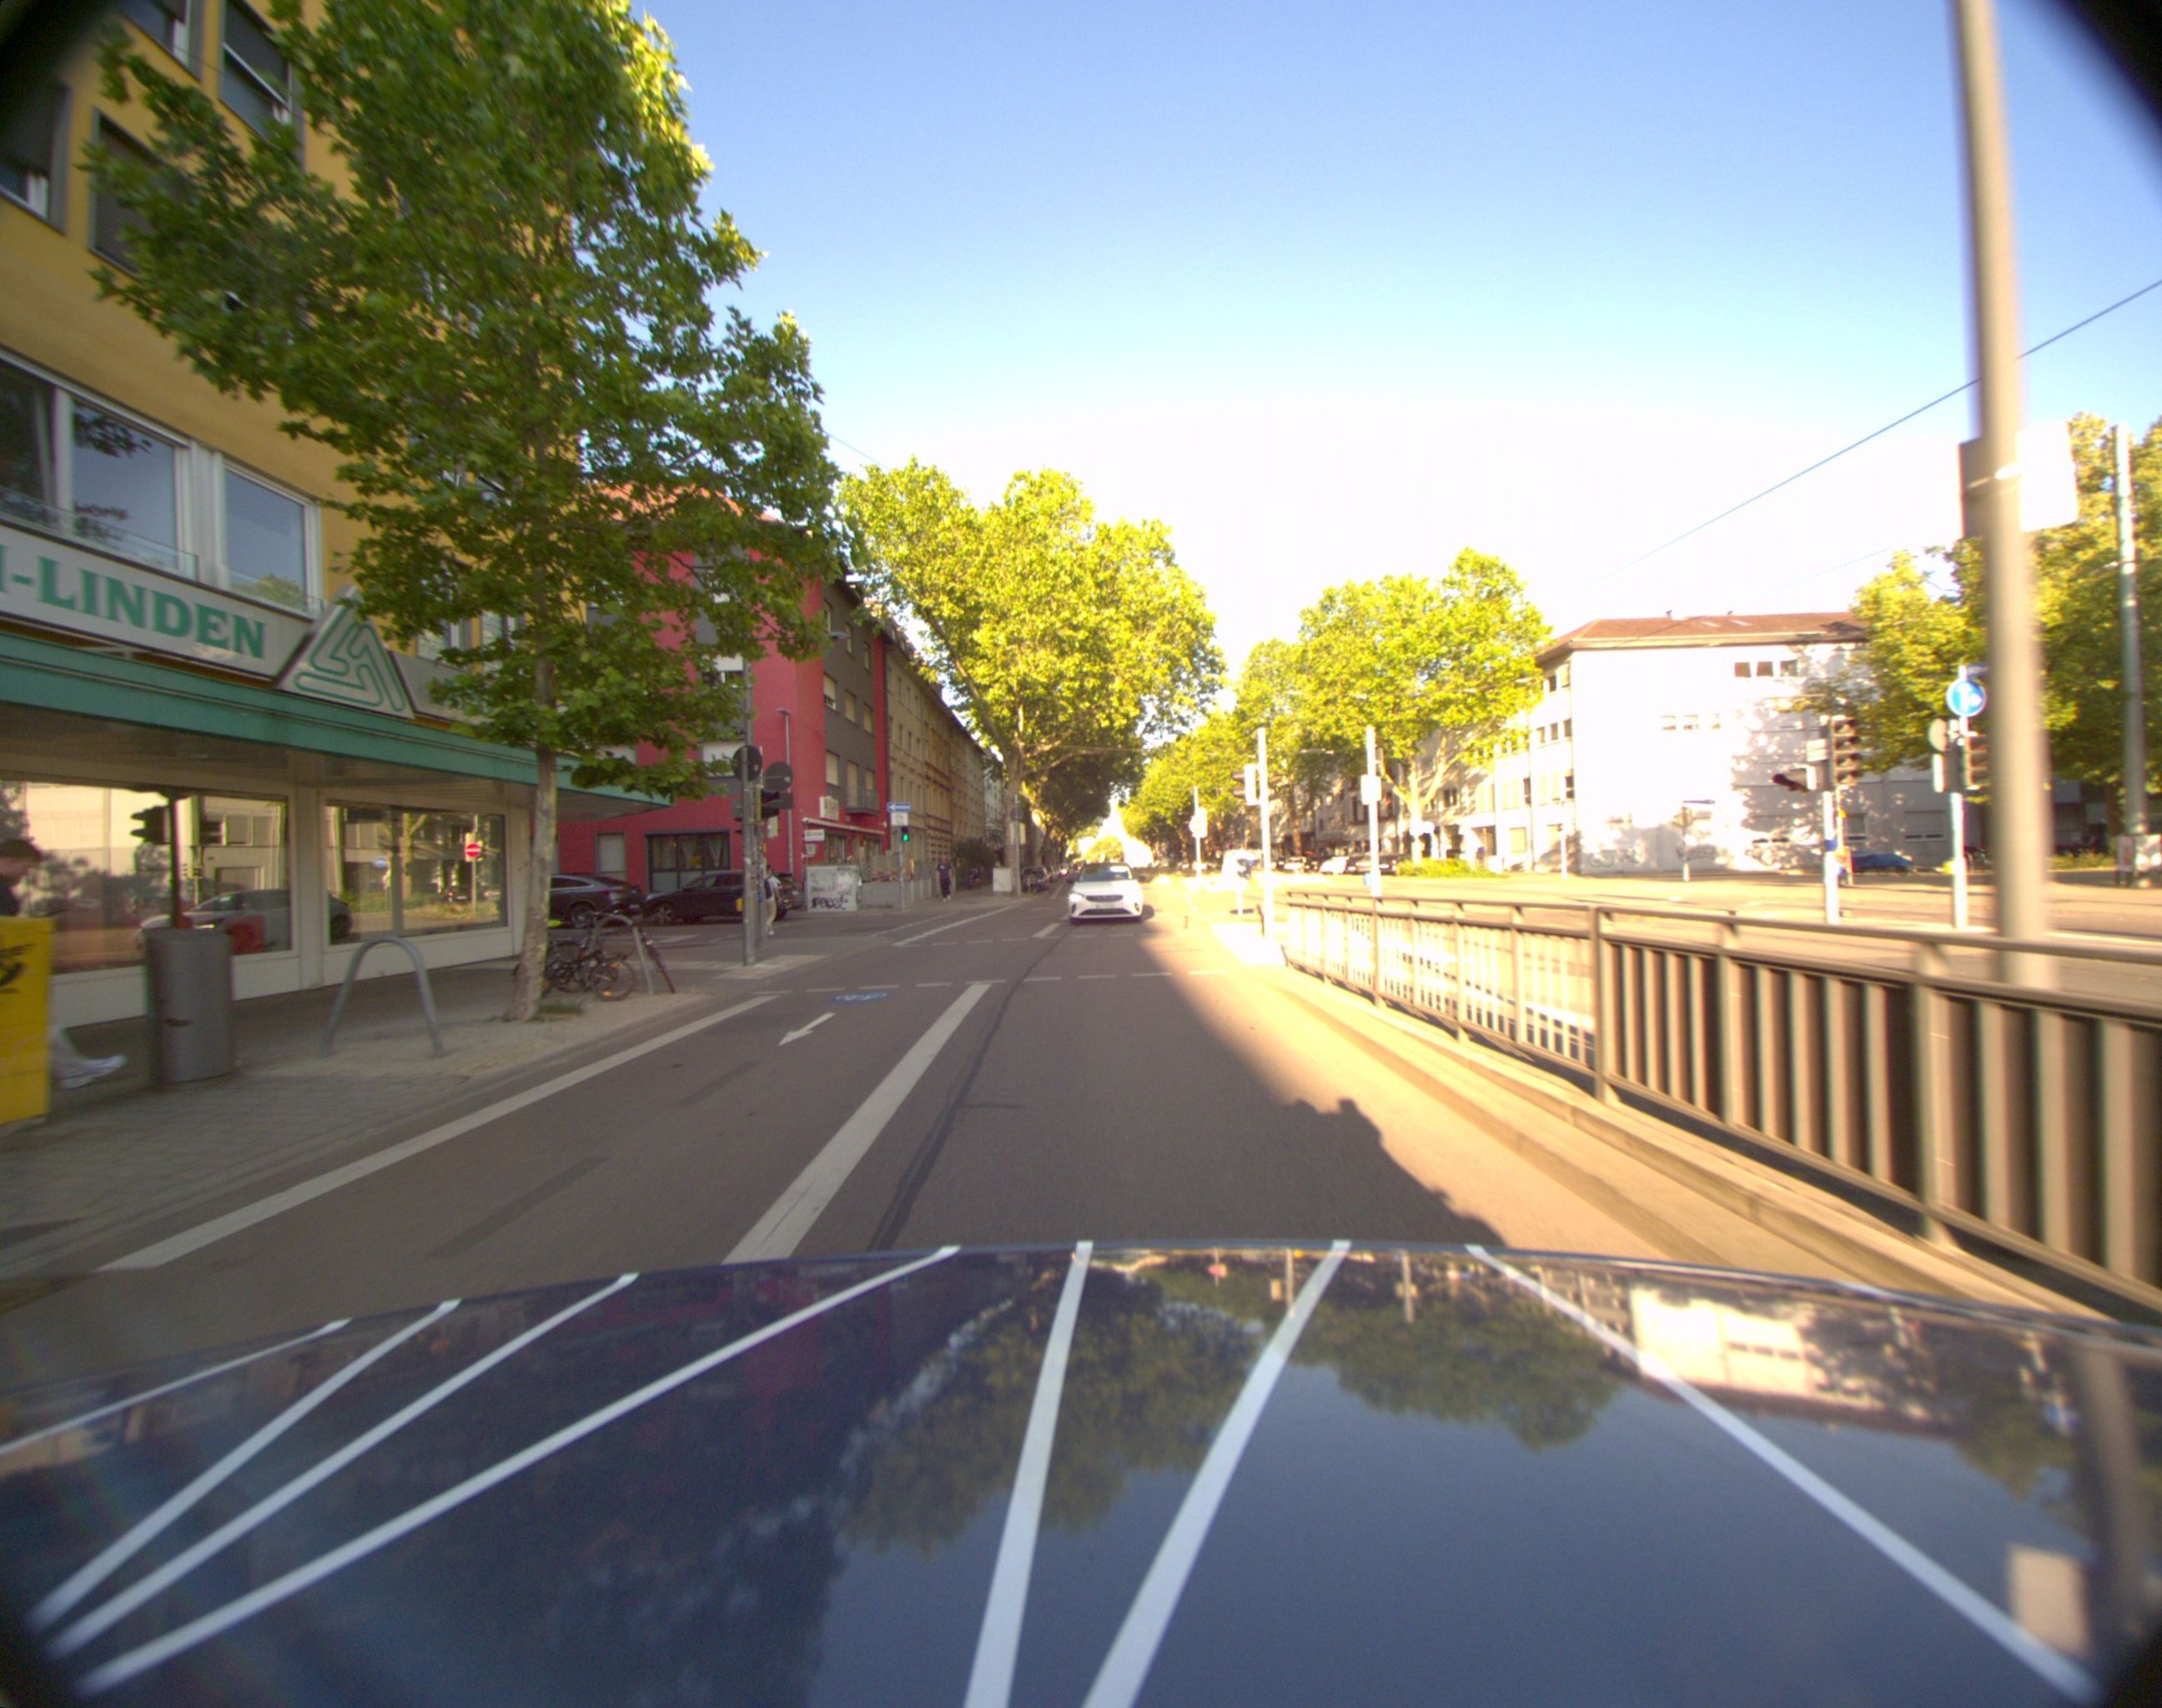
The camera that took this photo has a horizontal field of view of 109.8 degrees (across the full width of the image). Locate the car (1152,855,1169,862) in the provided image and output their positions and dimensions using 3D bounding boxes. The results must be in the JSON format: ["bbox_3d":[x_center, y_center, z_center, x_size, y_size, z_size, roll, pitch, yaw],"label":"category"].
[{"bbox_3d":[20.500,1.124,196.065,3.994,1.802,1.875,-1,0,10],"label":"car"}]

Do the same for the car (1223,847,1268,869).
[{"bbox_3d":[21.615,0.505,99.857,5.619,2.684,2.176,-1,0,-24],"label":"car"}]

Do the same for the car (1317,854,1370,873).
[{"bbox_3d":[20.988,0.735,60.711,4.266,1.369,2.147,-1,0,-40],"label":"car"}]

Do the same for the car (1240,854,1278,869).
[{"bbox_3d":[21.226,0.906,90.578,4.005,1.608,1.996,-1,0,-27],"label":"car"}]

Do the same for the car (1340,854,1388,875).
[{"bbox_3d":[21.682,0.804,58.207,3.979,1.495,1.827,-1,0,-42],"label":"car"}]

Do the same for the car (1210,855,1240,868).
[{"bbox_3d":[21.251,1.155,112.054,4.005,1.805,1.996,-1,0,-27],"label":"car"}]

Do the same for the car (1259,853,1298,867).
[{"bbox_3d":[21.643,0.673,83.253,4.265,1.449,1.903,-1,0,-36],"label":"car"}]

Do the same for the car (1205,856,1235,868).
[{"bbox_3d":[21.072,1.183,115.327,4.005,1.805,1.996,-1,0,-27],"label":"car"}]

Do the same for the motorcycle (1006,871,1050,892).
[{"bbox_3d":[-2.823,1.454,40.596,2.217,1.104,0.663,1,-2,-27],"label":"motorcycle"}]

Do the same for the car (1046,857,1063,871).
[{"bbox_3d":[-3.011,1.149,87.853,1.803,1.493,4.370,1,0,-1],"label":"car"}]

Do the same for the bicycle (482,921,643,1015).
[{"bbox_3d":[-5.898,1.293,8.685,1.487,1.002,0.454,1,0,-3],"label":"bicycle"}]

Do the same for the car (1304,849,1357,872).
[{"bbox_3d":[22.107,0.574,67.334,4.260,1.932,1.515,-1,0,-15],"label":"car"}]

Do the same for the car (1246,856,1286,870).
[{"bbox_3d":[21.319,0.987,87.450,4.004,1.509,1.997,-1,0,-20],"label":"car"}]

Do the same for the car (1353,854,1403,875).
[{"bbox_3d":[21.503,0.759,54.963,3.979,1.423,1.738,-1,-2,-42],"label":"car"}]

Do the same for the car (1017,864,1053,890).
[{"bbox_3d":[-2.727,1.346,45.892,1.802,1.393,4.370,1,0,1],"label":"car"}]

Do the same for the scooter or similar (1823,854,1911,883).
[{"bbox_3d":[32.625,0.619,31.614,1.096,1.119,2.449,-1,-3,1],"label":"scooter or similar"}]

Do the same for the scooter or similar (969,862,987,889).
[{"bbox_3d":[-5.950,1.215,44.077,0.666,1.461,2.545,-1,0,1],"label":"scooter or similar"}]

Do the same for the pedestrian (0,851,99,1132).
[{"bbox_3d":[-7.283,0.883,4.942,0.725,1.796,0.766,-1,1,0],"label":"pedestrian"}]

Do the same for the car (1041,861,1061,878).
[{"bbox_3d":[-2.885,1.486,74.527,1.803,1.599,4.370,1,0,-1],"label":"car"}]

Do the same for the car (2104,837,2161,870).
[{"bbox_3d":[45.393,-0.050,31.029,1.815,1.389,4.001,-1,-1,1],"label":"car"}]

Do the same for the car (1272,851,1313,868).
[{"bbox_3d":[21.296,0.525,76.443,4.265,1.604,1.902,-2,0,-40],"label":"car"}]

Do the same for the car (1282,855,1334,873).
[{"bbox_3d":[20.592,0.894,68.936,4.260,1.548,1.641,-1,0,-15],"label":"car"}]

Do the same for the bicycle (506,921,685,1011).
[{"bbox_3d":[-5.880,1.352,9.258,1.803,1.002,0.541,1,0,-3],"label":"bicycle"}]

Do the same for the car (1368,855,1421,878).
[{"bbox_3d":[21.345,0.841,51.701,3.979,1.423,1.768,-1,0,-42],"label":"car"}]

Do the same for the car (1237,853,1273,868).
[{"bbox_3d":[22.274,0.851,97.288,4.005,1.805,1.996,-1,0,-27],"label":"car"}]

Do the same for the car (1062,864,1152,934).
[{"bbox_3d":[0.539,0.986,18.273,1.865,1.394,3.932,-3,0,-1],"label":"car"}]

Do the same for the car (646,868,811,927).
[{"bbox_3d":[-11.041,1.339,24.021,4.352,1.676,1.772,-1,0,0],"label":"car"}]

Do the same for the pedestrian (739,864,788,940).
[{"bbox_3d":[-7.883,1.184,18.890,0.745,1.770,0.894,-1,4,0],"label":"pedestrian"}]

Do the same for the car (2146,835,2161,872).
[{"bbox_3d":[47.887,-0.060,31.485,1.889,1.608,4.000,-1,0,1],"label":"car"}]

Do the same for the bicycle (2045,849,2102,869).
[{"bbox_3d":[50.014,0.243,38.300,1.988,0.974,0.633,-1,0,1],"label":"bicycle"}]

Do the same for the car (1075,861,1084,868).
[{"bbox_3d":[-0.380,3.018,219.083,1.998,1.850,4.001,-3,0,5],"label":"car"}]

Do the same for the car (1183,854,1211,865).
[{"bbox_3d":[19.247,0.983,126.382,4.234,1.696,1.999,-1,0,-4],"label":"car"}]

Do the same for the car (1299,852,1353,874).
[{"bbox_3d":[20.675,0.757,64.020,4.265,1.674,2.148,-1,0,-34],"label":"car"}]

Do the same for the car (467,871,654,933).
[{"bbox_3d":[-16.301,1.483,23.937,4.613,1.730,1.772,-1,0,0],"label":"car"}]

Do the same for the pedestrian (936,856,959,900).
[{"bbox_3d":[-5.292,0.950,30.178,0.728,1.701,0.816,1,1,0],"label":"pedestrian"}]

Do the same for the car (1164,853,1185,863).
[{"bbox_3d":[21.211,0.822,172.399,4.952,2.200,2.096,-1,0,-42],"label":"car"}]

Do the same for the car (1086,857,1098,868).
[{"bbox_3d":[2.042,1.545,143.328,1.998,2.002,4.000,-3,0,0],"label":"car"}]

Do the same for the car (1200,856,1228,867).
[{"bbox_3d":[21.479,1.245,122.783,4.005,1.696,1.996,-1,0,-27],"label":"car"}]

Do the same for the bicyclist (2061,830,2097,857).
[{"bbox_3d":[50.315,-0.535,38.298,0.969,1.323,0.633,-1,0,1],"label":"bicyclist"}]

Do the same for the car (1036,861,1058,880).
[{"bbox_3d":[-2.951,1.402,67.101,1.803,1.599,4.370,1,0,-1],"label":"car"}]

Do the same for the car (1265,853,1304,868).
[{"bbox_3d":[21.411,0.713,79.975,4.265,1.451,1.599,-1,0,-36],"label":"car"}]

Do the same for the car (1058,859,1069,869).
[{"bbox_3d":[-2.961,1.650,129.064,1.803,1.599,4.105,1,0,-1],"label":"car"}]

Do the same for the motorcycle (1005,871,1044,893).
[{"bbox_3d":[-2.857,1.409,38.464,1.895,1.104,0.783,2,-2,-42],"label":"motorcycle"}]
